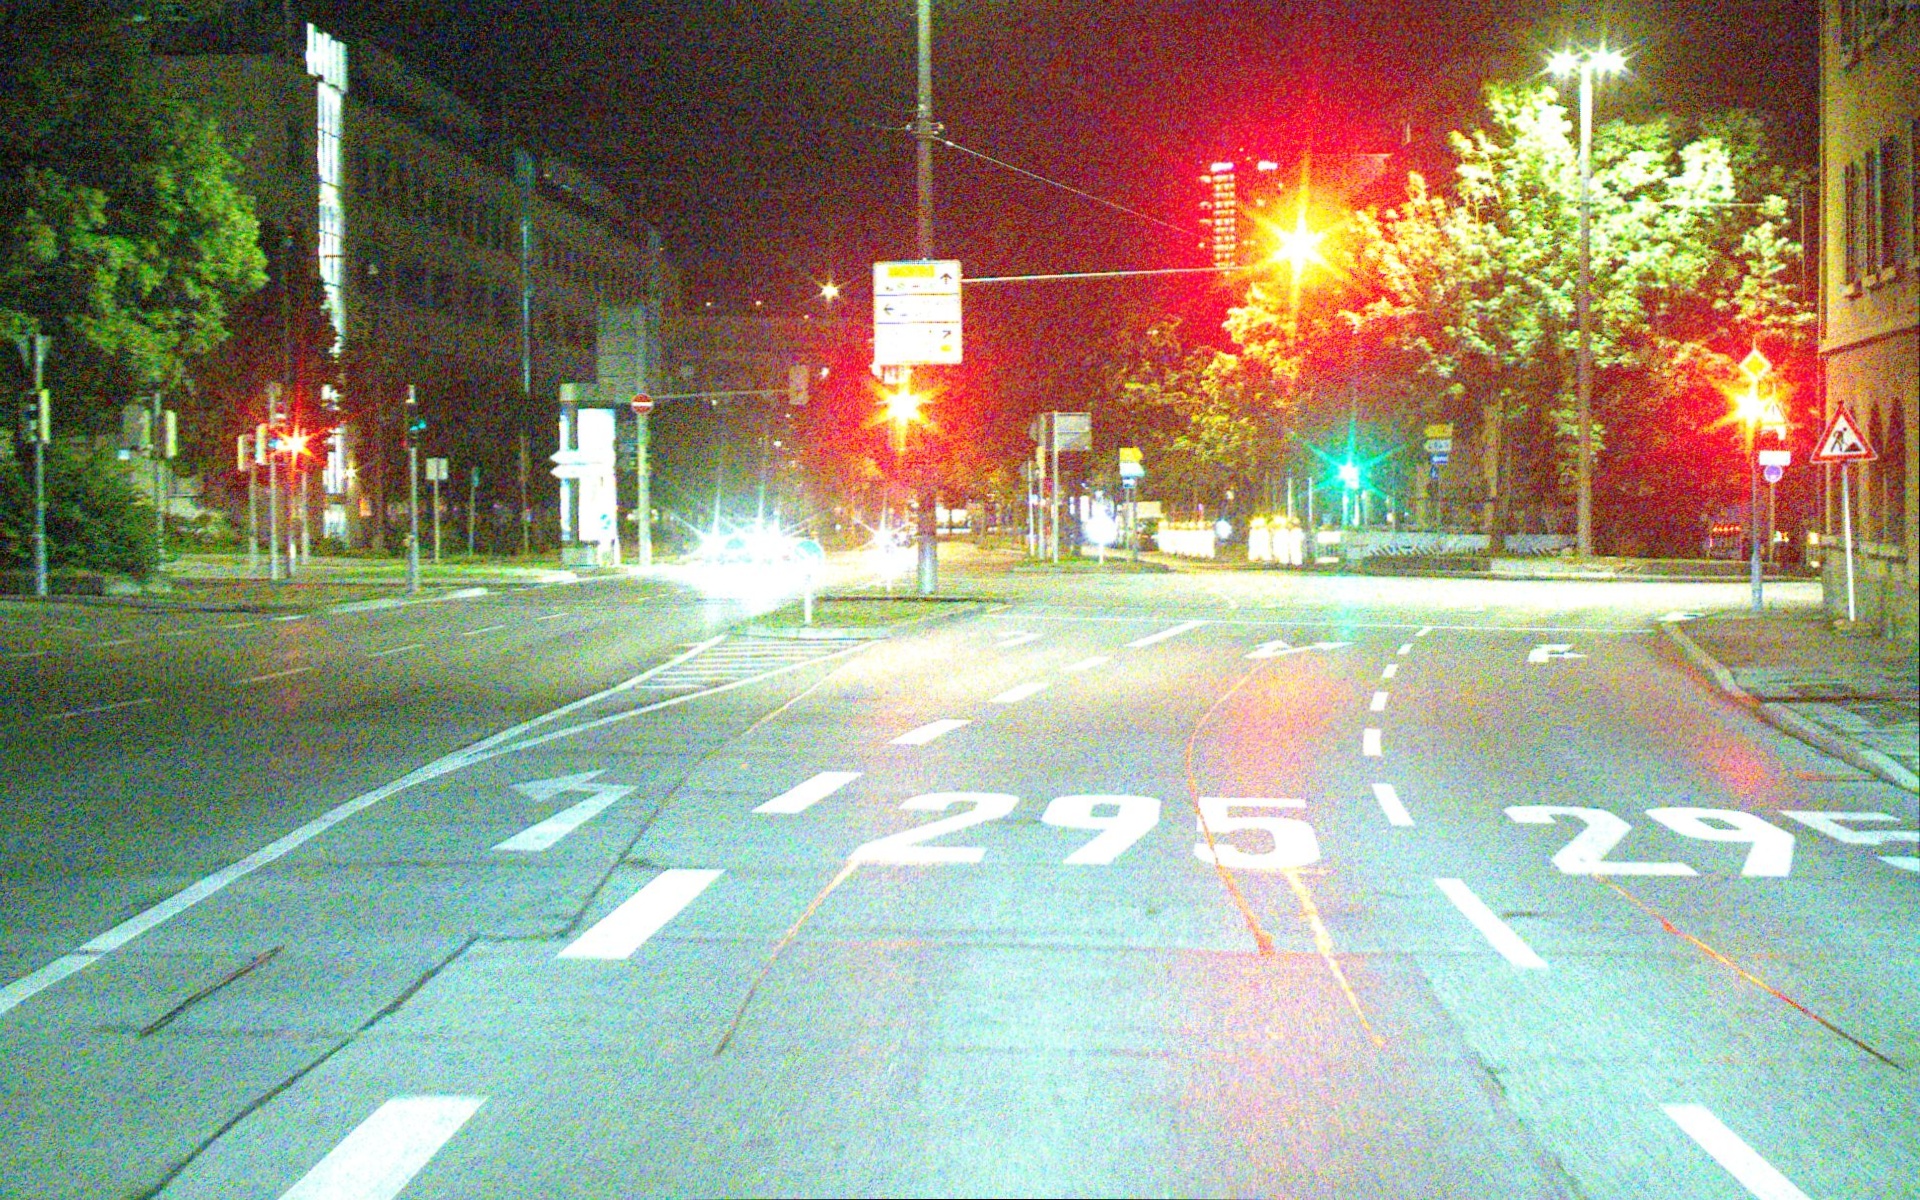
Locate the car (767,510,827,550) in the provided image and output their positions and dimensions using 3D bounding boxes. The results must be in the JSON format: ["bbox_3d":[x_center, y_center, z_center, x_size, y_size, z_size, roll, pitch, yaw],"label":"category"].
[{"bbox_3d":[-5.600,-2.409,118.496,1.758,1.317,3.547,1,1,2],"label":"car"}]

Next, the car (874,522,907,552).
[{"bbox_3d":[-4.049,-3.670,200.821,1.758,1.722,3.547,1,1,2],"label":"car"}]

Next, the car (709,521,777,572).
[{"bbox_3d":[-6.550,-1.617,104.137,1.616,1.509,4.000,1,1,2],"label":"car"}]
